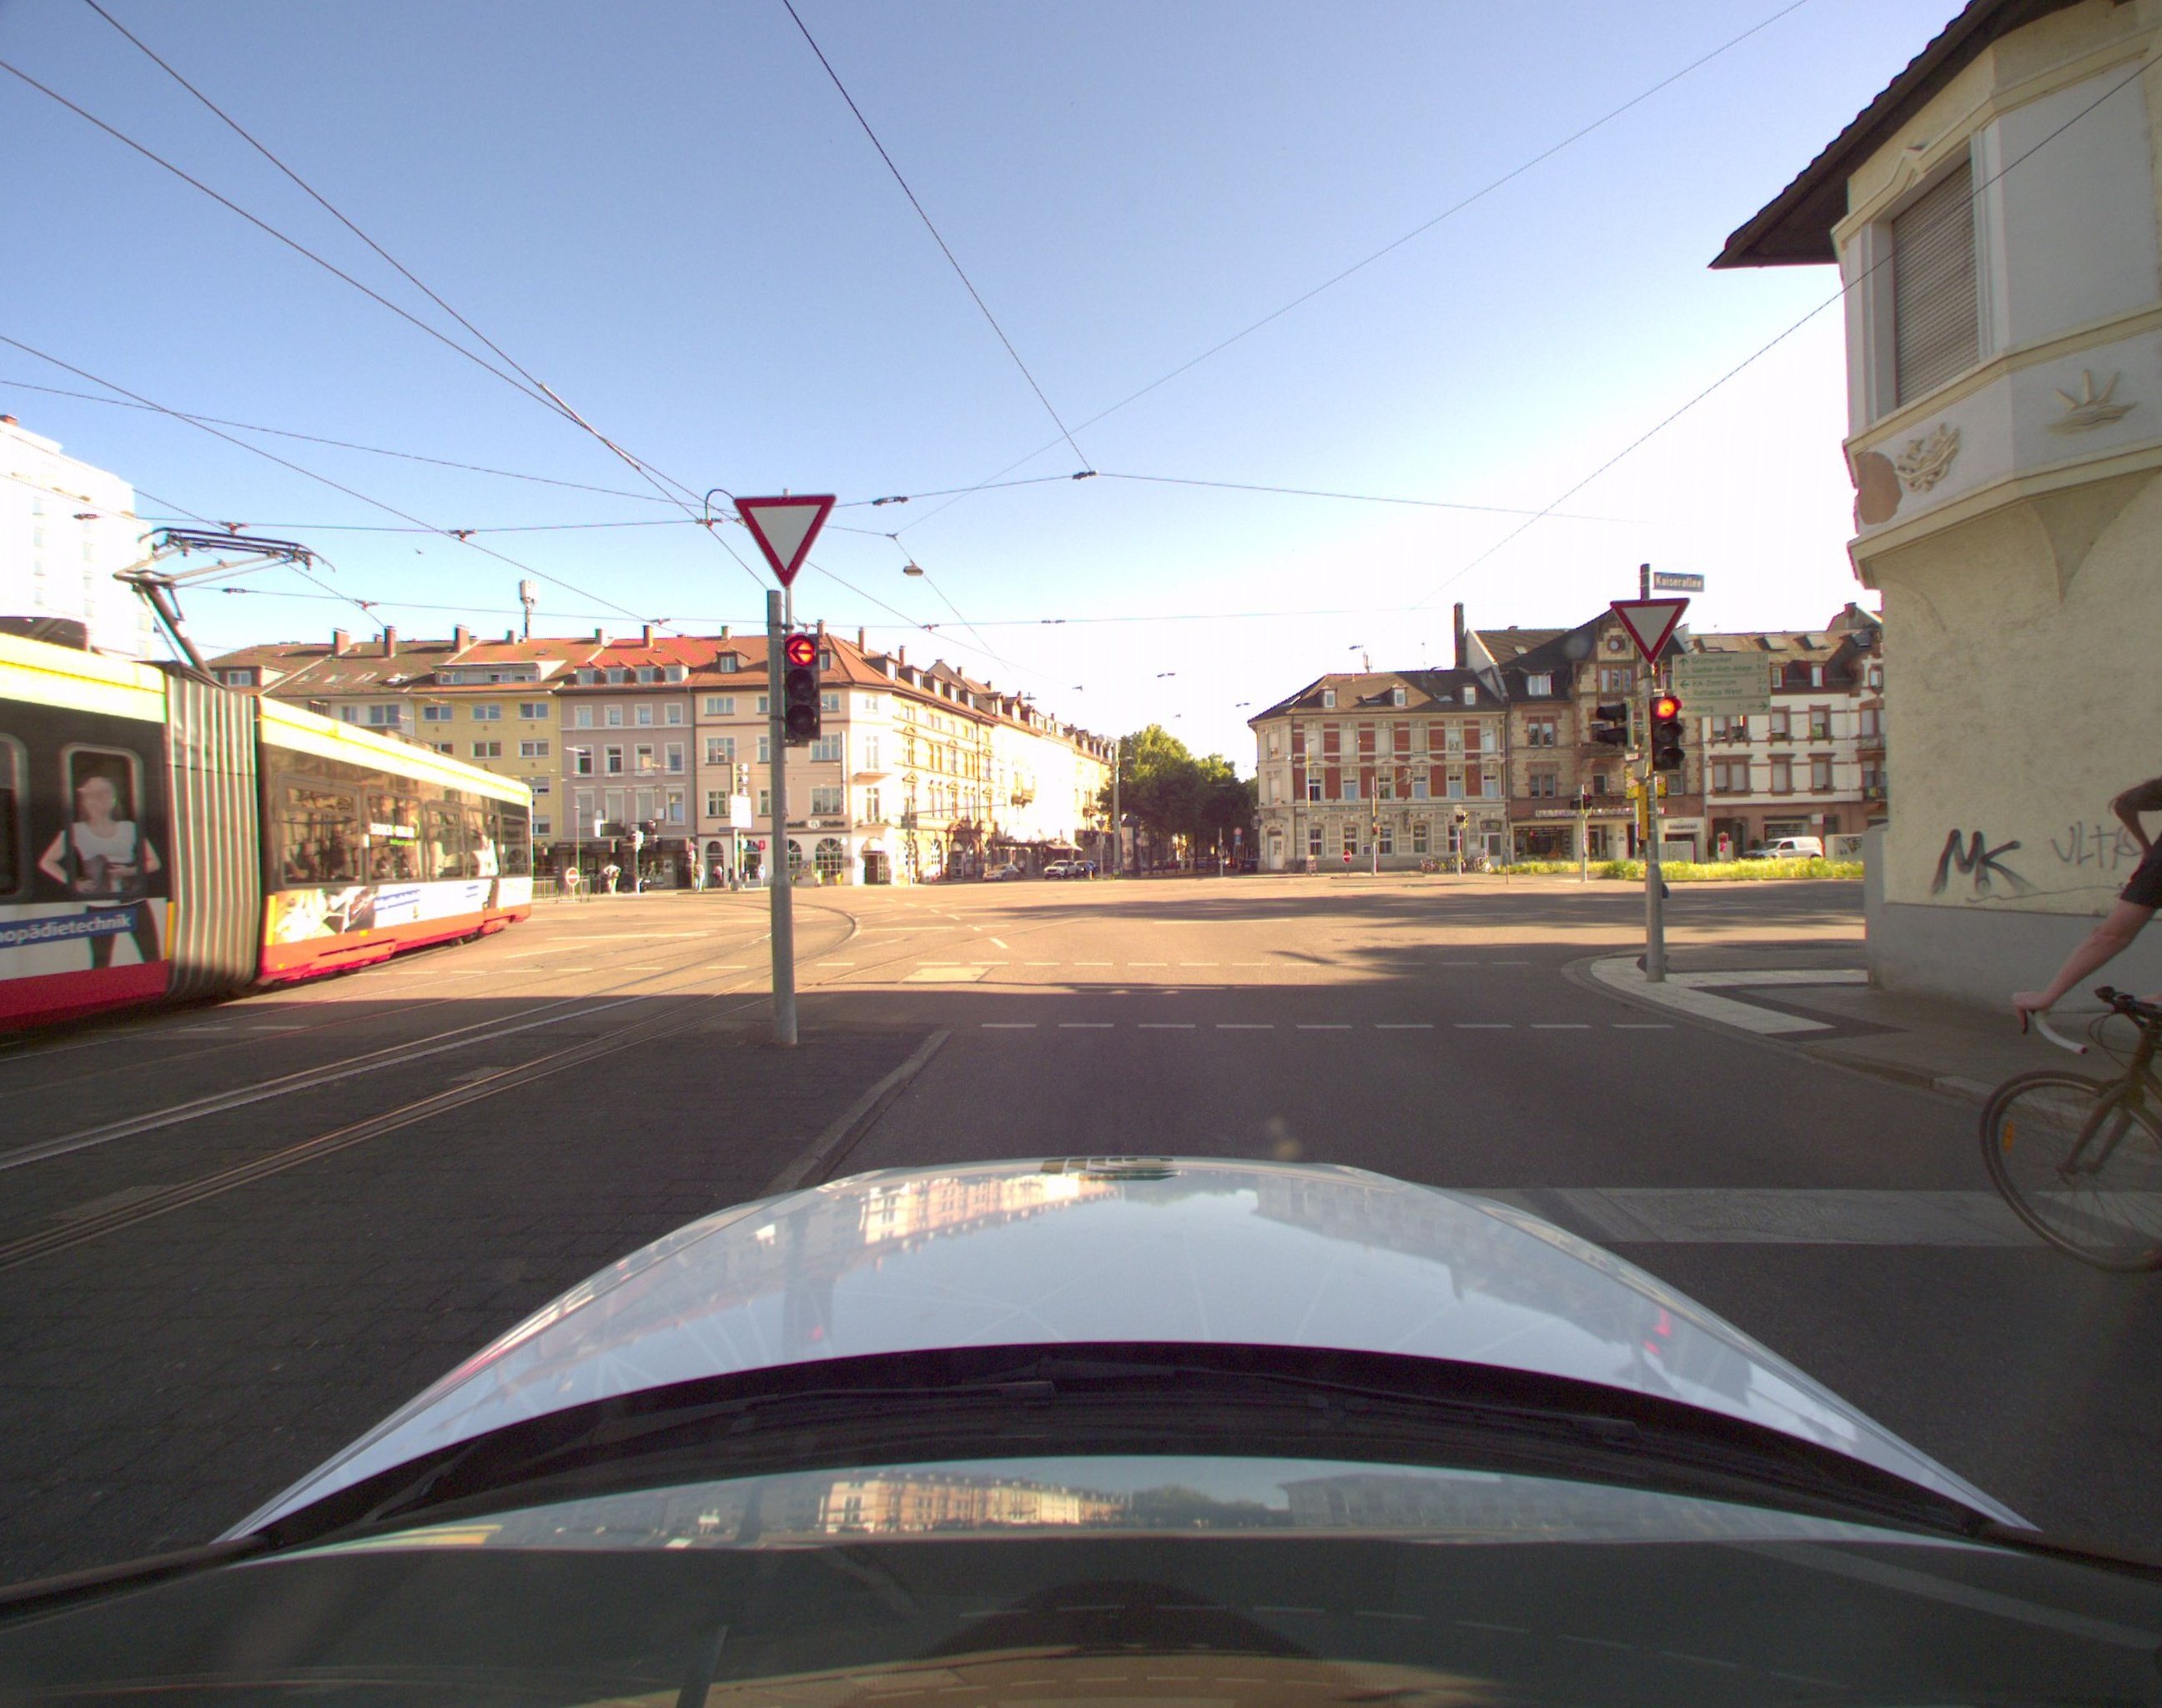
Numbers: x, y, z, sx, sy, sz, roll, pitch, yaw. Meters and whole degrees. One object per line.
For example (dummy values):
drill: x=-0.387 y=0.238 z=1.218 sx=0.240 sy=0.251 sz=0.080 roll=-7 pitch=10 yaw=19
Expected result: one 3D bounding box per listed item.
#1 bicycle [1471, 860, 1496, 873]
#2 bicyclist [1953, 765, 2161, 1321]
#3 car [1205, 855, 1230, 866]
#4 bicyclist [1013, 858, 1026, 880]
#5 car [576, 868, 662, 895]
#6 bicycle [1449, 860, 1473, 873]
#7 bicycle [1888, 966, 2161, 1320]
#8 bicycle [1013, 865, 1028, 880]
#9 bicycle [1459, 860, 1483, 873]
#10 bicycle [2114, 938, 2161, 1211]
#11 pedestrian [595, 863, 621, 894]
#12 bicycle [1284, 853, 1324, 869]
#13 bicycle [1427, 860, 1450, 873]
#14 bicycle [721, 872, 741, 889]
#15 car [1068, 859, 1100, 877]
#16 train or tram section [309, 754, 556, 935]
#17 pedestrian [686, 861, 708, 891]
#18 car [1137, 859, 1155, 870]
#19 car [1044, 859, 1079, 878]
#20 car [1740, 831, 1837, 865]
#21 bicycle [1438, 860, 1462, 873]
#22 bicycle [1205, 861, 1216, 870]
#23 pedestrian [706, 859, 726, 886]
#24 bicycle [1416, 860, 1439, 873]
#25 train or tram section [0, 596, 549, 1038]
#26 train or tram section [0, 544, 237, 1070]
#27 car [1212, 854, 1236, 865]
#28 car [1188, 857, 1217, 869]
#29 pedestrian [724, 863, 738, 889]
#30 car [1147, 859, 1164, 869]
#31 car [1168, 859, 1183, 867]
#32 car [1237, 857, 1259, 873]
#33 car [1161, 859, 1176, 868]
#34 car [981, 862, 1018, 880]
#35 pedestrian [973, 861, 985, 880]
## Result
bicycle: x=26.013 y=0.793 z=52.719 sx=0.656 sy=0.840 sz=2.162 roll=0 pitch=-1 yaw=3
bicyclist: x=3.578 y=0.575 z=2.503 sx=0.570 sy=1.701 sz=1.117 roll=-1 pitch=0 yaw=2
car: x=21.457 y=1.047 z=127.723 sx=3.549 sy=1.648 sz=1.691 roll=-2 pitch=0 yaw=19
bicyclist: x=-4.935 y=1.202 z=65.418 sx=0.772 sy=1.803 sz=1.060 roll=-1 pitch=-1 yaw=16
car: x=-30.361 y=1.782 z=53.641 sx=4.347 sy=1.711 sz=2.308 roll=0 pitch=-1 yaw=4
bicycle: x=24.573 y=0.804 z=52.750 sx=0.656 sy=0.840 sz=2.162 roll=0 pitch=-1 yaw=3
bicycle: x=3.602 y=0.956 z=2.512 sx=0.516 sy=0.970 sz=1.750 roll=-1 pitch=0 yaw=2
bicycle: x=-4.889 y=1.477 z=65.537 sx=0.696 sy=1.118 sz=1.642 roll=-1 pitch=-1 yaw=16
bicycle: x=25.209 y=0.799 z=52.704 sx=0.656 sy=0.840 sz=2.162 roll=0 pitch=-1 yaw=3
bicycle: x=4.573 y=0.931 z=2.551 sx=0.515 sy=1.090 sz=1.799 roll=-1 pitch=2 yaw=6
pedestrian: x=-24.661 y=1.280 z=42.472 sx=0.842 sy=1.577 sz=0.836 roll=-1 pitch=-1 yaw=11
bicycle: x=15.608 y=0.494 z=57.061 sx=2.547 sy=1.174 sz=0.818 roll=0 pitch=-1 yaw=-1
bicycle: x=23.166 y=0.815 z=52.757 sx=0.656 sy=0.840 sz=2.162 roll=0 pitch=-1 yaw=3
bicycle: x=-22.802 y=1.732 z=53.076 sx=0.570 sy=1.077 sz=1.497 roll=0 pitch=-1 yaw=2
car: x=0.313 y=1.233 z=73.772 sx=1.664 sy=1.483 sz=3.967 roll=-2 pitch=0 yaw=19
train or tram section: x=-18.058 y=-0.102 z=22.162 sx=11.965 sy=3.814 sz=2.960 roll=-2 pitch=0 yaw=40
pedestrian: x=-19.933 y=1.135 z=42.280 sx=0.545 sy=1.577 sz=0.838 roll=-1 pitch=-1 yaw=29
car: x=9.181 y=1.480 z=115.449 sx=1.664 sy=1.354 sz=3.608 roll=-2 pitch=0 yaw=19
car: x=-1.599 y=1.207 z=67.513 sx=1.664 sy=1.483 sz=3.789 roll=-2 pitch=0 yaw=19
car: x=45.447 y=-0.386 z=52.402 sx=4.406 sy=2.013 sz=2.002 roll=-1 pitch=0 yaw=4
bicycle: x=23.890 y=0.809 z=52.742 sx=0.656 sy=0.840 sz=2.162 roll=0 pitch=-1 yaw=3
bicycle: x=15.776 y=1.382 z=99.282 sx=0.636 sy=1.021 sz=1.839 roll=0 pitch=-1 yaw=-12
pedestrian: x=-21.794 y=1.111 z=48.669 sx=0.718 sy=1.577 sz=0.838 roll=-1 pitch=-1 yaw=36
bicycle: x=22.430 y=0.820 z=52.698 sx=0.656 sy=0.840 sz=2.162 roll=0 pitch=-1 yaw=3
train or tram section: x=-11.643 y=-0.257 z=12.947 sx=2.944 sy=3.814 sz=12.724 roll=-1 pitch=0 yaw=-22
train or tram section: x=-8.866 y=-0.336 z=1.021 sx=2.927 sy=3.814 sz=13.030 roll=-1 pitch=0 yaw=-5
car: x=23.363 y=0.953 z=133.156 sx=3.549 sy=1.648 sz=1.691 roll=-2 pitch=0 yaw=19
car: x=17.212 y=1.246 z=115.457 sx=3.870 sy=1.648 sz=1.691 roll=-2 pitch=0 yaw=19
pedestrian: x=-22.802 y=1.438 z=53.111 sx=0.580 sy=1.670 sz=0.753 roll=0 pitch=-1 yaw=2
car: x=11.251 y=1.520 z=122.366 sx=1.664 sy=1.354 sz=3.608 roll=-2 pitch=0 yaw=19
car: x=15.729 y=1.508 z=135.604 sx=1.664 sy=1.354 sz=3.608 roll=-2 pitch=0 yaw=19
car: x=16.910 y=1.089 z=82.336 sx=1.664 sy=1.483 sz=3.967 roll=-2 pitch=0 yaw=19
car: x=14.042 y=1.489 z=130.611 sx=1.664 sy=1.354 sz=3.608 roll=-2 pitch=0 yaw=19
car: x=-6.704 y=1.417 z=67.229 sx=1.664 sy=1.354 sz=3.608 roll=-2 pitch=0 yaw=19
pedestrian: x=-8.871 y=1.409 z=70.792 sx=0.770 sy=1.670 sz=0.834 roll=-1 pitch=-1 yaw=17
